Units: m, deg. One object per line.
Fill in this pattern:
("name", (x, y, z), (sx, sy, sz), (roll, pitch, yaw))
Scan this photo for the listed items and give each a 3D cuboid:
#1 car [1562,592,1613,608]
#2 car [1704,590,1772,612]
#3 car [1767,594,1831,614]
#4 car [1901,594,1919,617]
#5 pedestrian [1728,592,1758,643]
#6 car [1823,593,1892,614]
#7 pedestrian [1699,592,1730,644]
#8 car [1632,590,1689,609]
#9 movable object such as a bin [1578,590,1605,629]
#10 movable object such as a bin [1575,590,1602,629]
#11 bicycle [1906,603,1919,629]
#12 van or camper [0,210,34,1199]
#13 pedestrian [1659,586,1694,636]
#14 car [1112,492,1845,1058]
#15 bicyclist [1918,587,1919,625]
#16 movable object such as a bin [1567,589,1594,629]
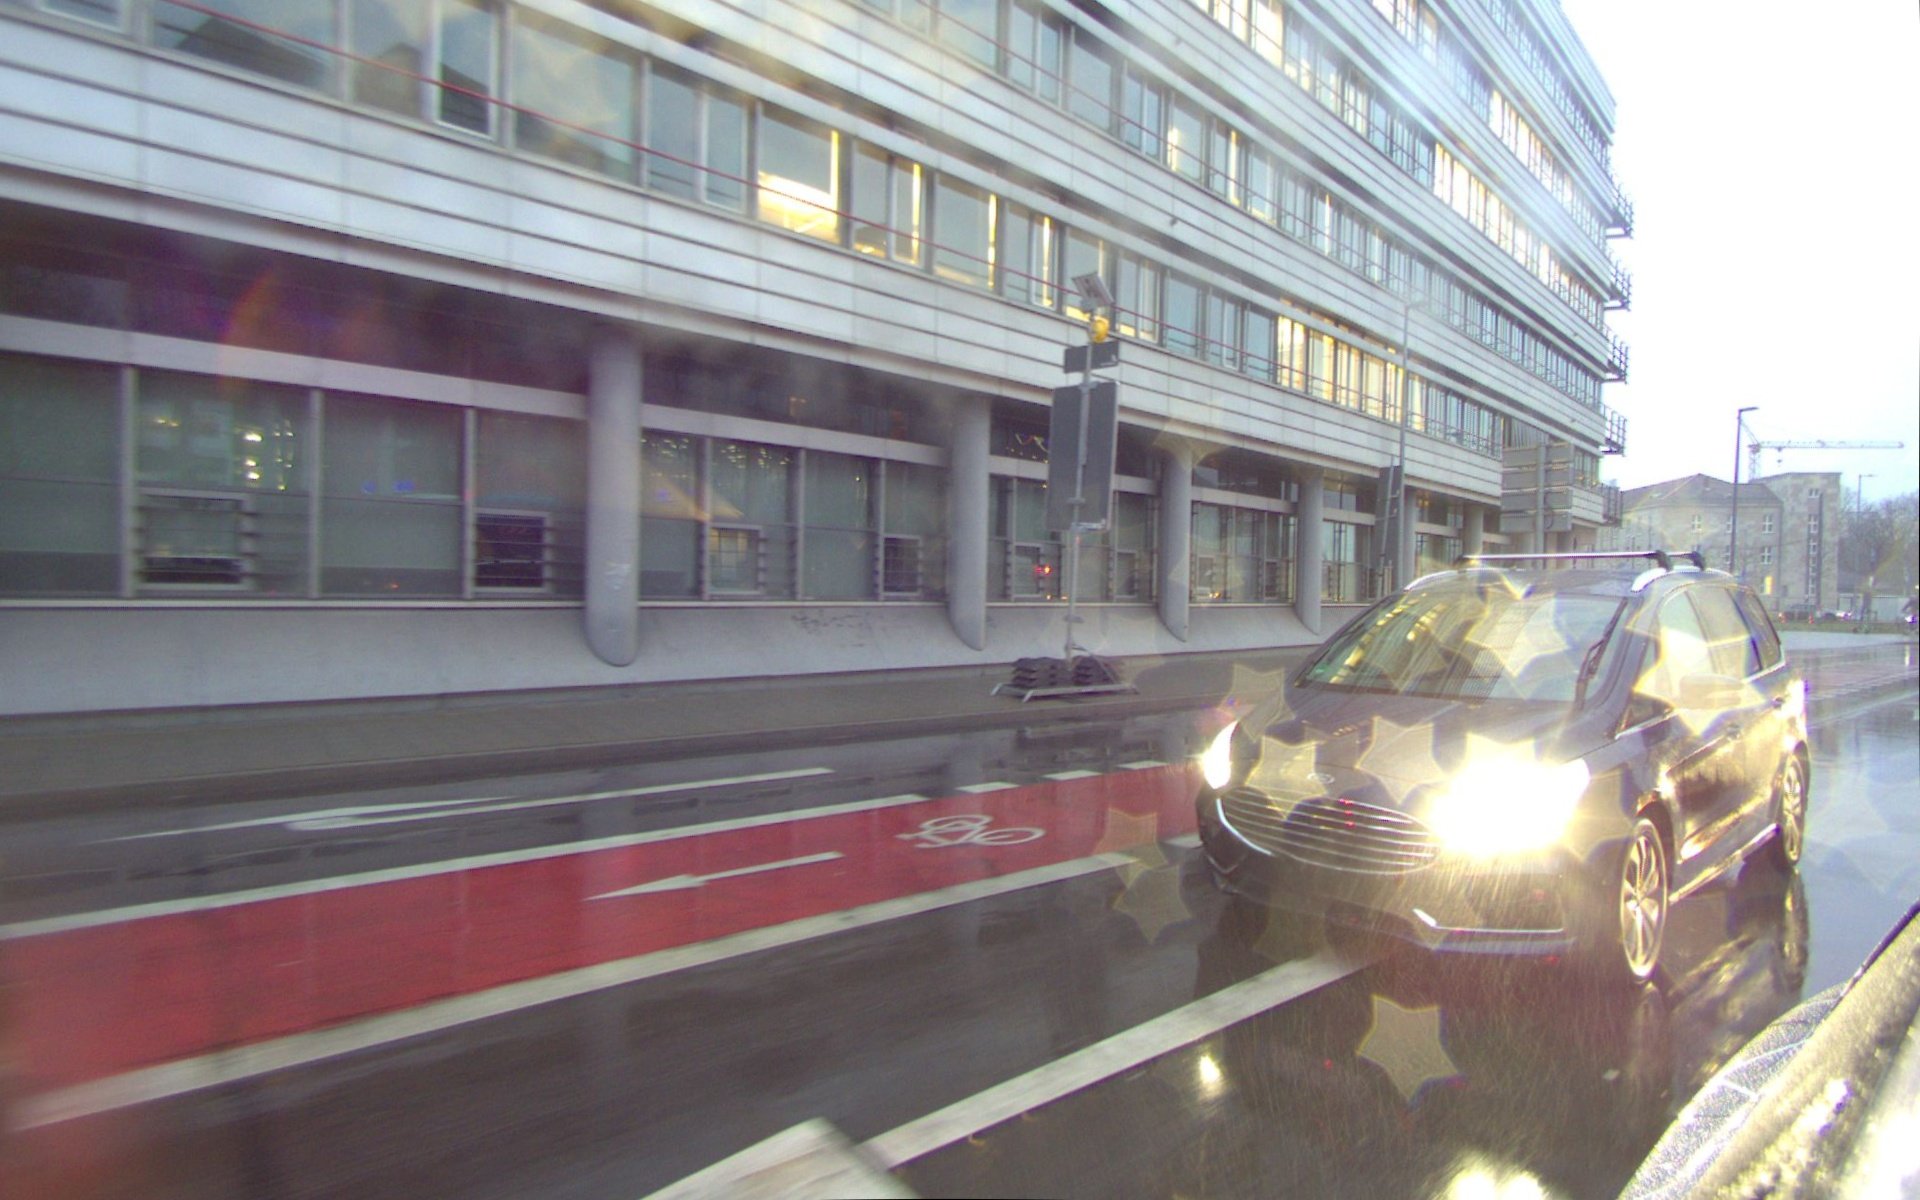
("car", (64.457, 0.021, 103.965), (1.958, 1.523, 4.012), (1, 1, -25))
("car", (69.420, 0.067, 90.319), (1.958, 1.782, 4.385), (1, 1, -25))
("car", (71.242, 0.296, 85.949), (1.743, 1.556, 3.775), (1, 1, -24))
("car", (74.965, 0.477, 77.491), (1.743, 1.730, 3.932), (1, 1, -27))
("pedestrian", (26.623, 0.583, 34.416), (0.870, 1.689, 0.615), (0, 3, -44))
("car", (72.660, 0.300, 81.977), (1.743, 1.556, 3.775), (1, 1, -24))
("pedestrian", (26.040, 0.608, 34.908), (0.870, 1.723, 0.650), (0, 3, -44))
("car", (66.953, -0.036, 96.751), (1.958, 1.693, 4.012), (1, 1, -25))
("movable object such as a bin", (24.521, 0.357, 39.284), (0.826, 1.495, 0.665), (0, 1, -44))
("movable object such as a bin", (23.948, 0.355, 38.549), (0.826, 1.446, 0.665), (0, 1, -44))
("bicycle", (46.524, 0.781, 48.403), (1.735, 1.213, 0.679), (2, 1, 14))
("van or camper", (-3.105, 0.381, 0.114), (4.341, 1.931, 1.760), (0, 0, -41))
("pedestrian", (25.675, 0.370, 36.275), (0.953, 1.722, 0.746), (0, 4, -44))
("car", (3.071, 0.564, 5.479), (4.587, 1.834, 1.887), (0, 0, -40))
("bicyclist", (46.551, 0.321, 48.390), (0.794, 1.820, 0.669), (2, 1, 13))
("movable object such as a bin", (23.289, 0.337, 37.963), (0.826, 1.446, 0.665), (0, 1, -44))
